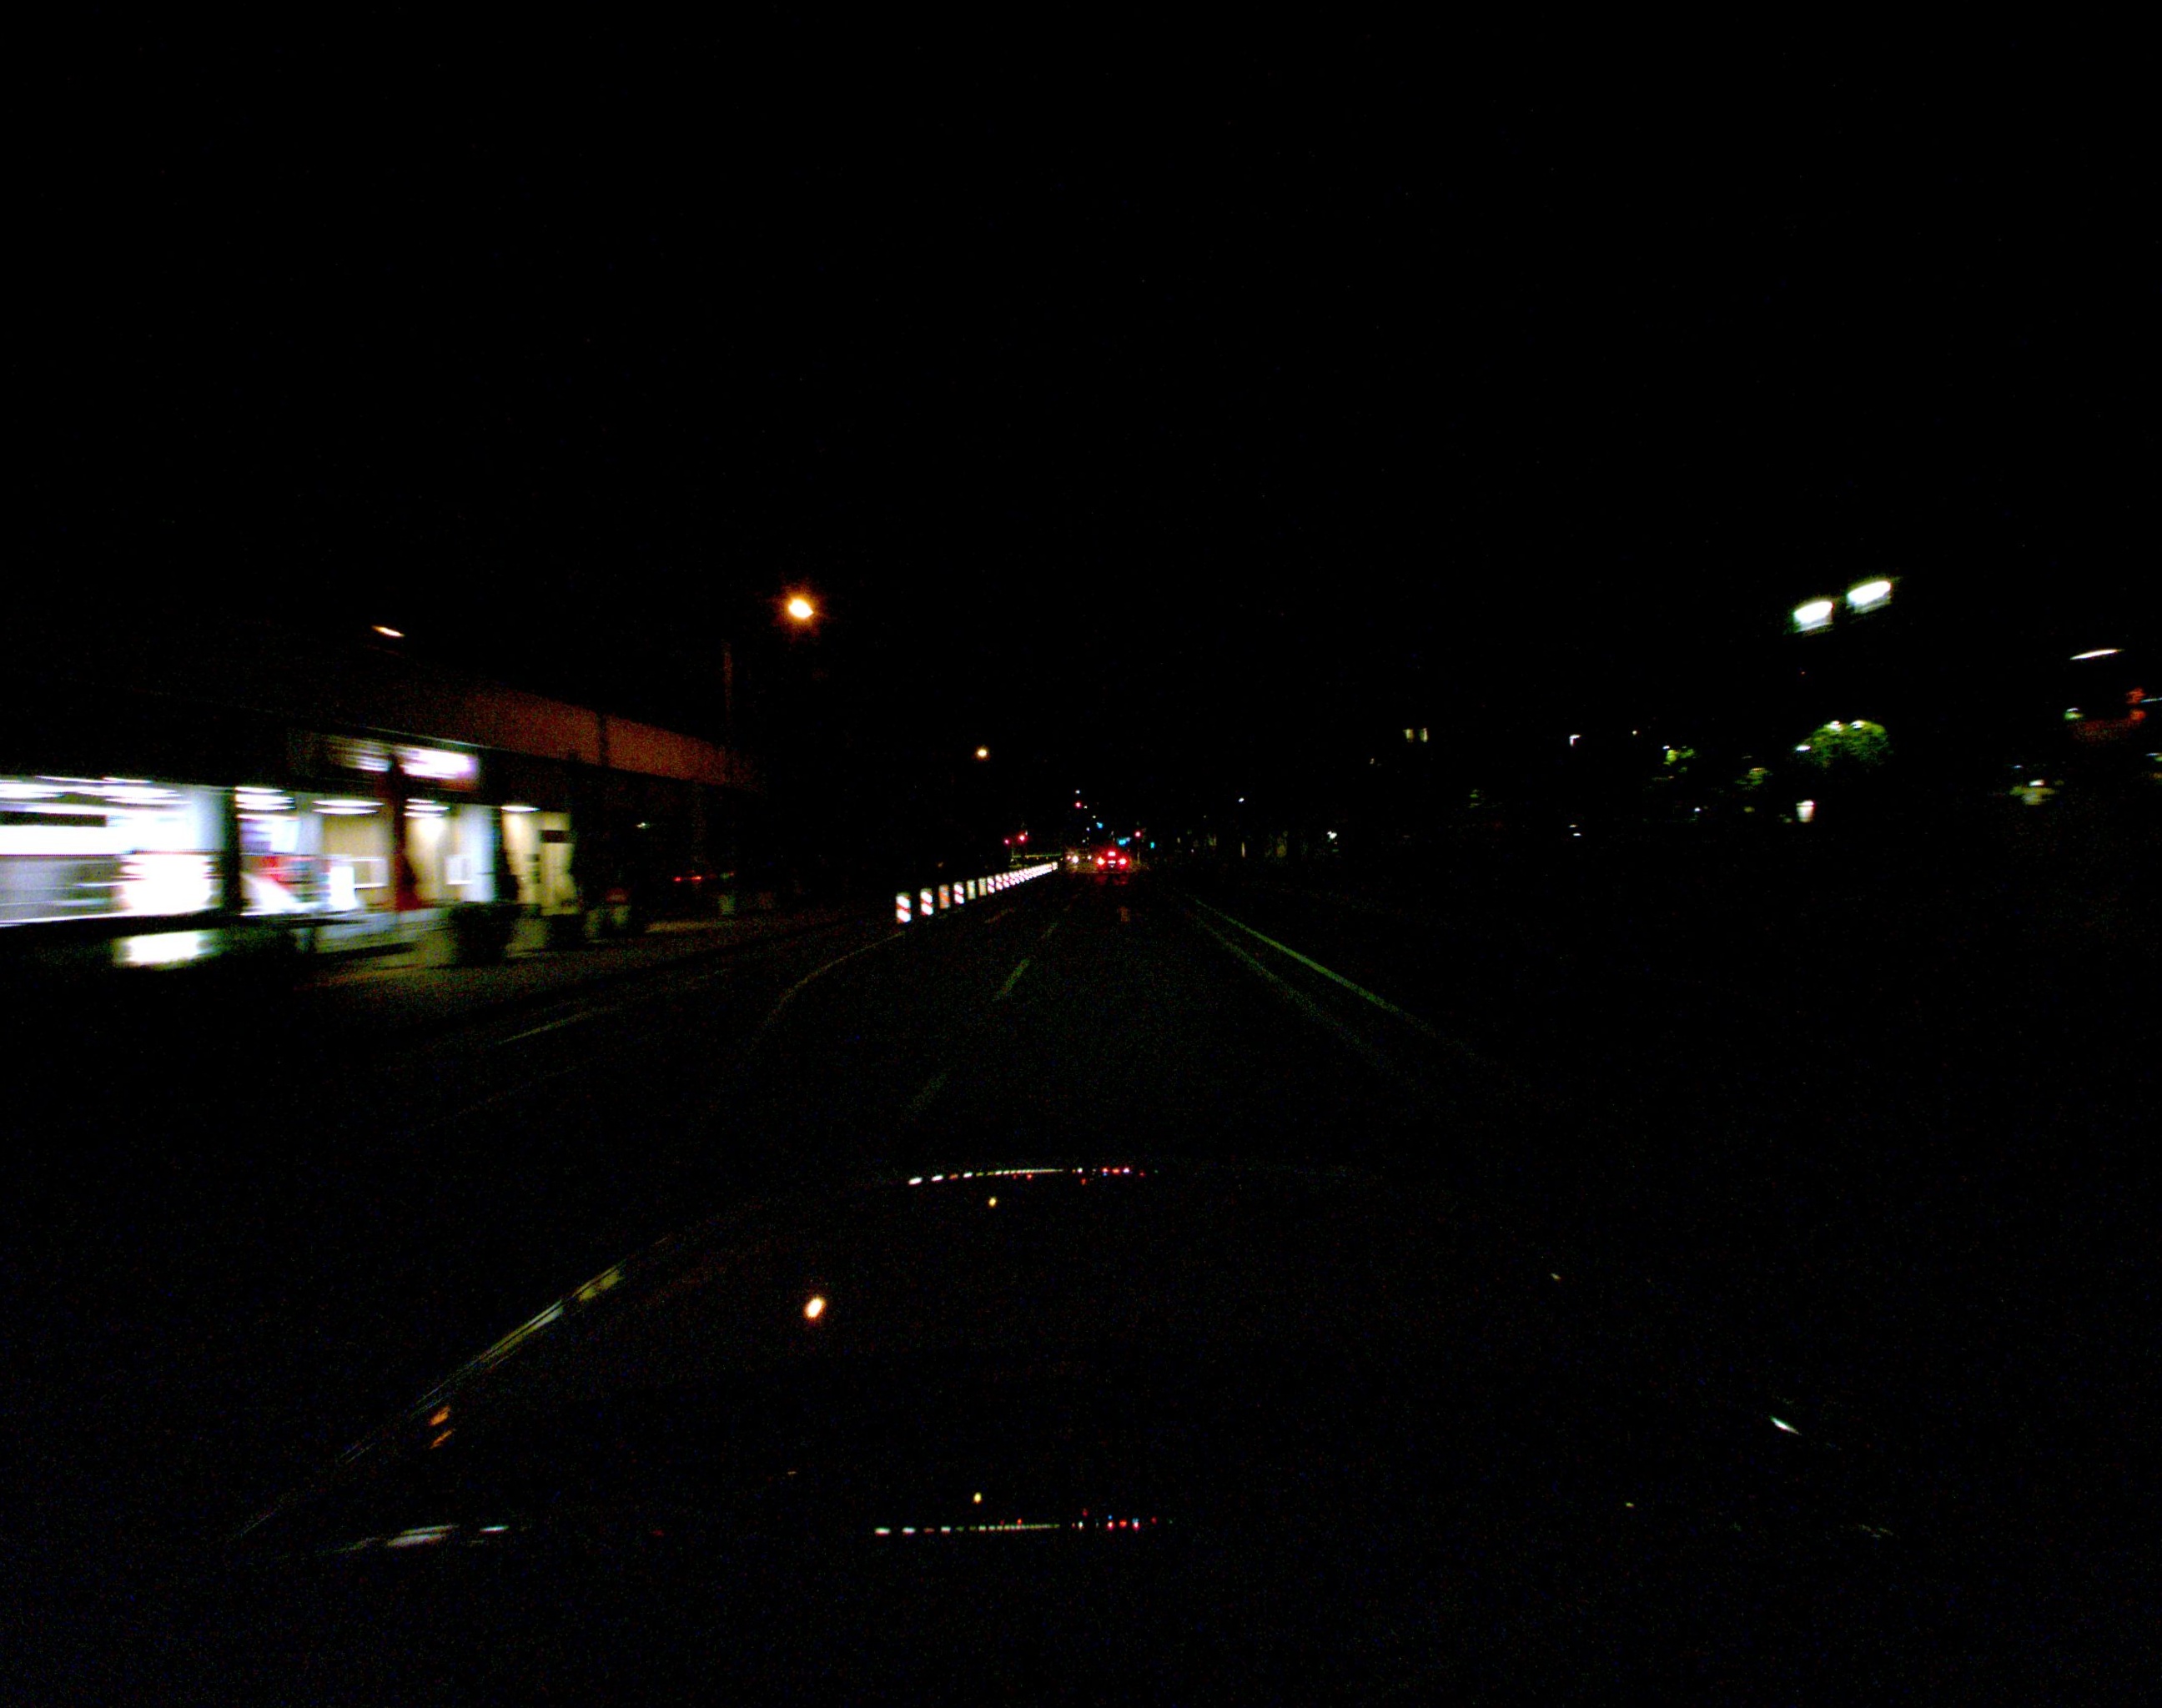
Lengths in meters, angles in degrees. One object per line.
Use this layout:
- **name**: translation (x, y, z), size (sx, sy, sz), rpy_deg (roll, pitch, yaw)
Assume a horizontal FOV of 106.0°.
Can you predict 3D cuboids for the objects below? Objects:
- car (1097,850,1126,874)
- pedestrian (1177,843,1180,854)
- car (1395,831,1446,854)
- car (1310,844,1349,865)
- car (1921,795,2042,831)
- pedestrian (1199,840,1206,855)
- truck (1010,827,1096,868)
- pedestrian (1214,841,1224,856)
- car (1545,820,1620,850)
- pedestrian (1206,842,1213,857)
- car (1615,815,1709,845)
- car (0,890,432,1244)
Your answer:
- **car**: translation (2.036, 0.486, 54.165), size (1.798, 1.494, 4.732), rpy_deg (-1, 0, 2)
- **pedestrian**: translation (19.195, -1.111, 160.352), size (0.486, 2.013, 0.551), rpy_deg (-3, 0, 1)
- **car**: translation (24.345, -0.790, 58.569), size (1.778, 1.533, 3.996), rpy_deg (-3, 0, -3)
- **car**: translation (17.897, 0.041, 58.780), size (1.507, 1.395, 4.483), rpy_deg (-3, 0, 1)
- **car**: translation (51.966, -2.354, 47.091), size (4.518, 1.765, 2.081), rpy_deg (-3, 0, 3)
- **pedestrian**: translation (14.955, -0.828, 100.370), size (0.711, 1.769, 0.907), rpy_deg (-3, 0, 1)
- **truck**: translation (-3.107, -0.607, 86.472), size (9.985, 3.717, 2.781), rpy_deg (-4, 0, 44)
- **pedestrian**: translation (17.089, -0.703, 100.837), size (0.897, 1.769, 0.907), rpy_deg (-3, 0, 1)
- **car**: translation (28.381, -1.017, 46.212), size (1.762, 1.533, 4.100), rpy_deg (-3, 0, 2)
- **pedestrian**: translation (15.855, -0.562, 100.603), size (0.736, 1.769, 0.907), rpy_deg (-3, 0, 1)
- **car**: translation (33.099, -1.306, 46.617), size (1.883, 1.512, 4.892), rpy_deg (-3, 0, 1)
- **car**: translation (-5.551, 1.036, 3.821), size (1.661, 1.428, 4.001), rpy_deg (-4, 0, 1)
